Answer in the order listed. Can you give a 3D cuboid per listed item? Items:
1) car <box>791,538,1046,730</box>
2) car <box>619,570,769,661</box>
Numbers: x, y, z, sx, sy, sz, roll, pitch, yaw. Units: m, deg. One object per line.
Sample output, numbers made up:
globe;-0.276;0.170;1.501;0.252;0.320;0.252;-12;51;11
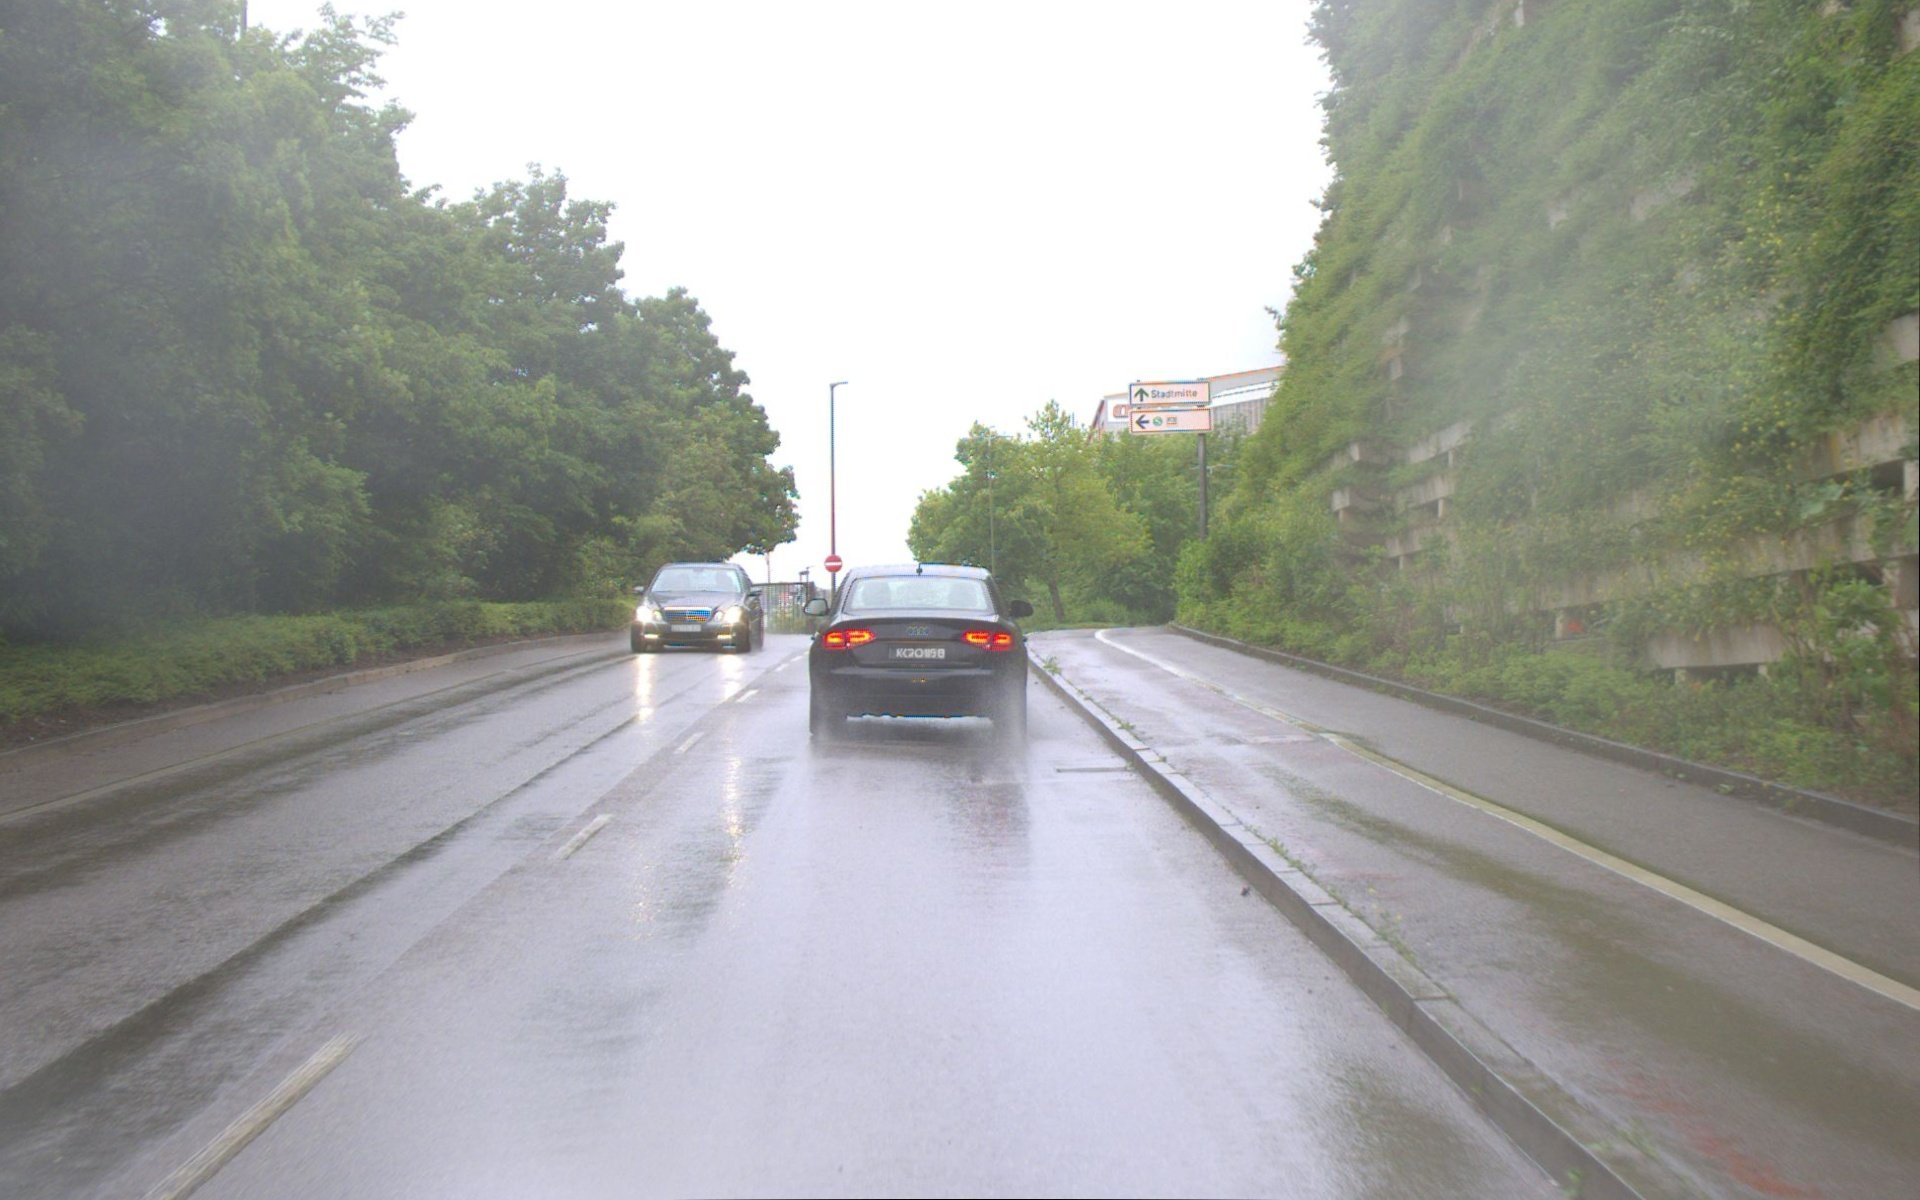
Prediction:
car;-0.271;0.234;28.981;1.893;1.487;4.207;0;1;3
car;-4.169;0.217;54.494;1.993;1.359;4.251;1;1;1
